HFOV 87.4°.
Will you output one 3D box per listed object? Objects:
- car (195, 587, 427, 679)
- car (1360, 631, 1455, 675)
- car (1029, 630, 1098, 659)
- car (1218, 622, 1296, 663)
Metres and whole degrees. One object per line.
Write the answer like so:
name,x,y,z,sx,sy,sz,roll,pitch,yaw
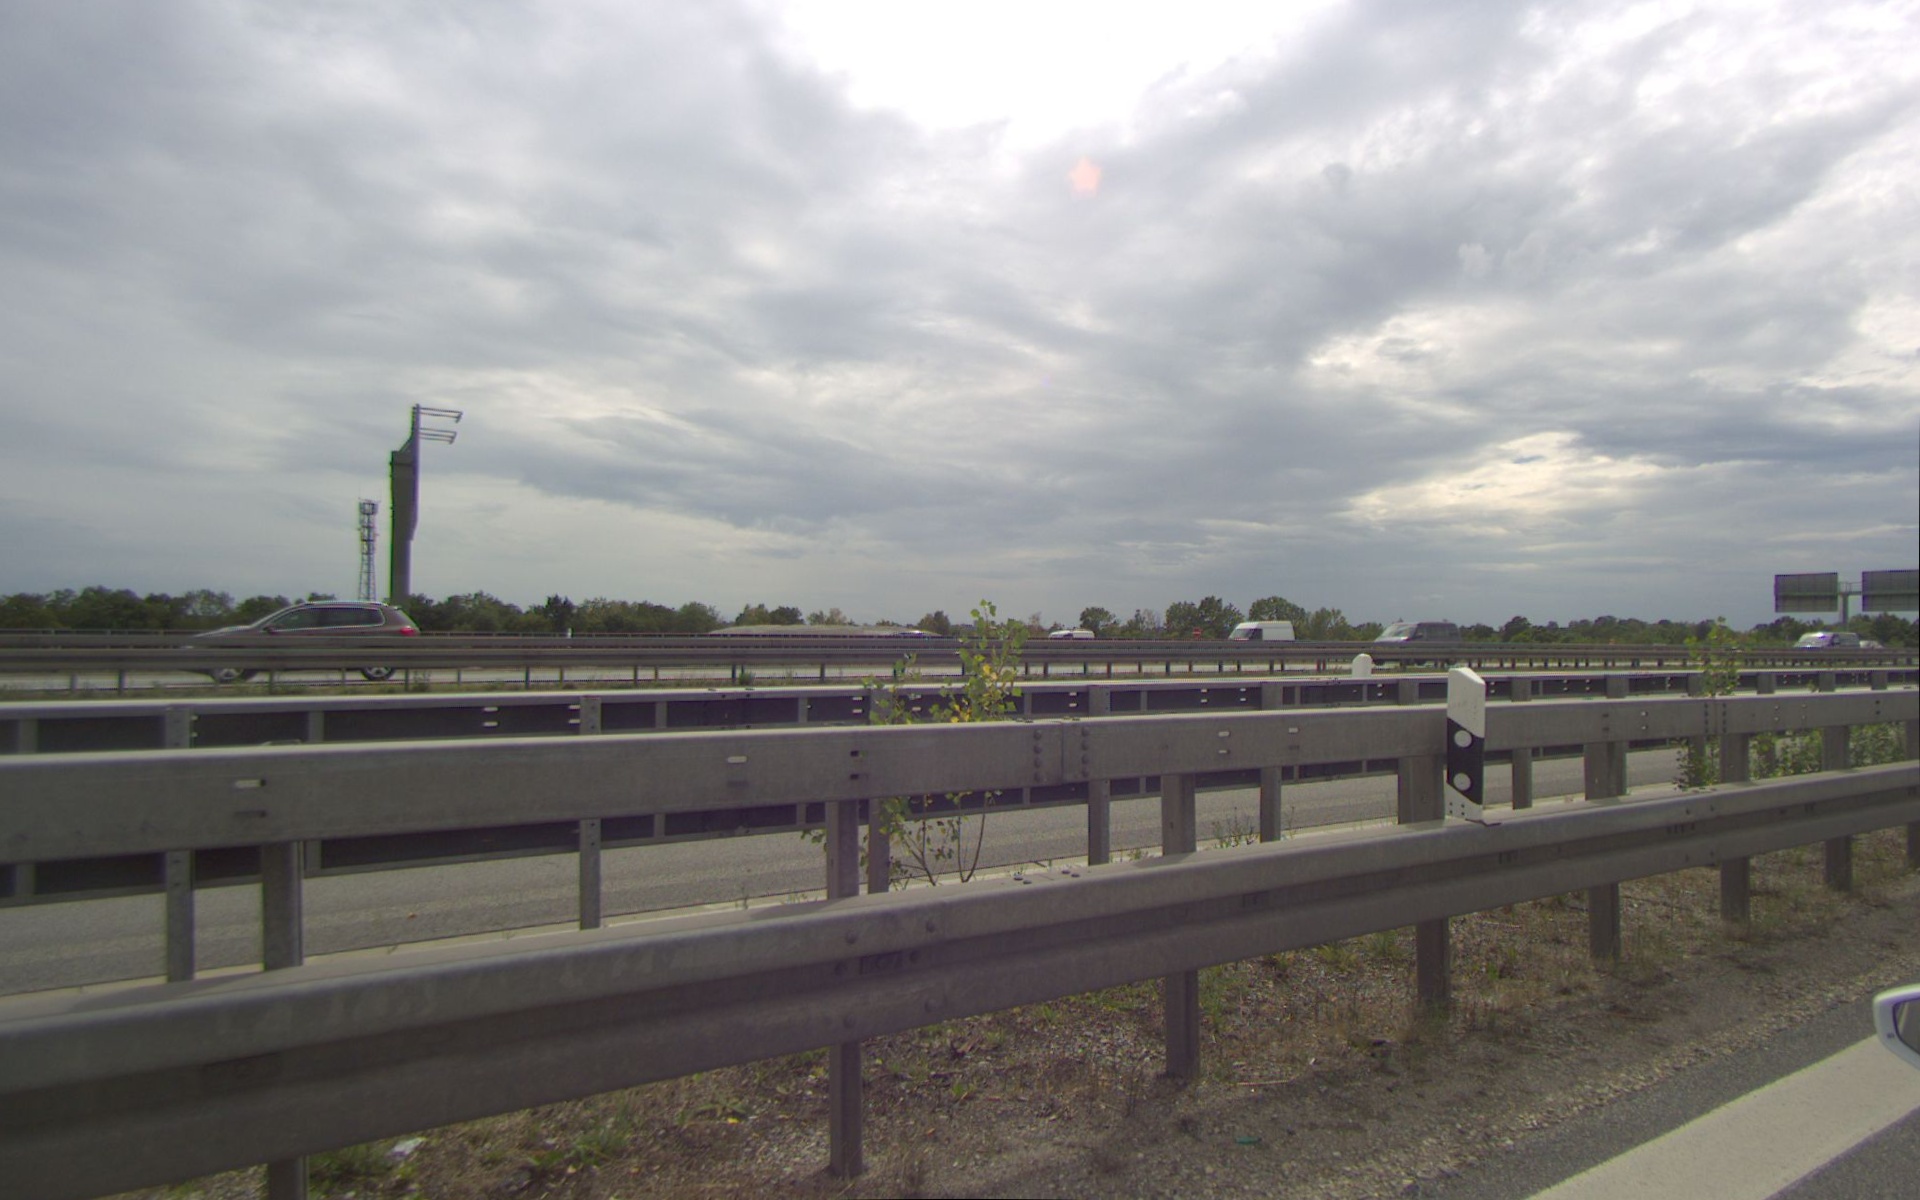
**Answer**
car,-13.666,0.697,21.470,3.951,1.817,1.902,2,-1,-28
car,20.610,2.412,46.222,4.173,1.840,1.897,2,1,-30
car,6.237,2.716,60.684,3.865,1.515,1.657,3,2,-30
car,17.864,2.565,60.446,4.438,2.337,1.984,2,0,-30
